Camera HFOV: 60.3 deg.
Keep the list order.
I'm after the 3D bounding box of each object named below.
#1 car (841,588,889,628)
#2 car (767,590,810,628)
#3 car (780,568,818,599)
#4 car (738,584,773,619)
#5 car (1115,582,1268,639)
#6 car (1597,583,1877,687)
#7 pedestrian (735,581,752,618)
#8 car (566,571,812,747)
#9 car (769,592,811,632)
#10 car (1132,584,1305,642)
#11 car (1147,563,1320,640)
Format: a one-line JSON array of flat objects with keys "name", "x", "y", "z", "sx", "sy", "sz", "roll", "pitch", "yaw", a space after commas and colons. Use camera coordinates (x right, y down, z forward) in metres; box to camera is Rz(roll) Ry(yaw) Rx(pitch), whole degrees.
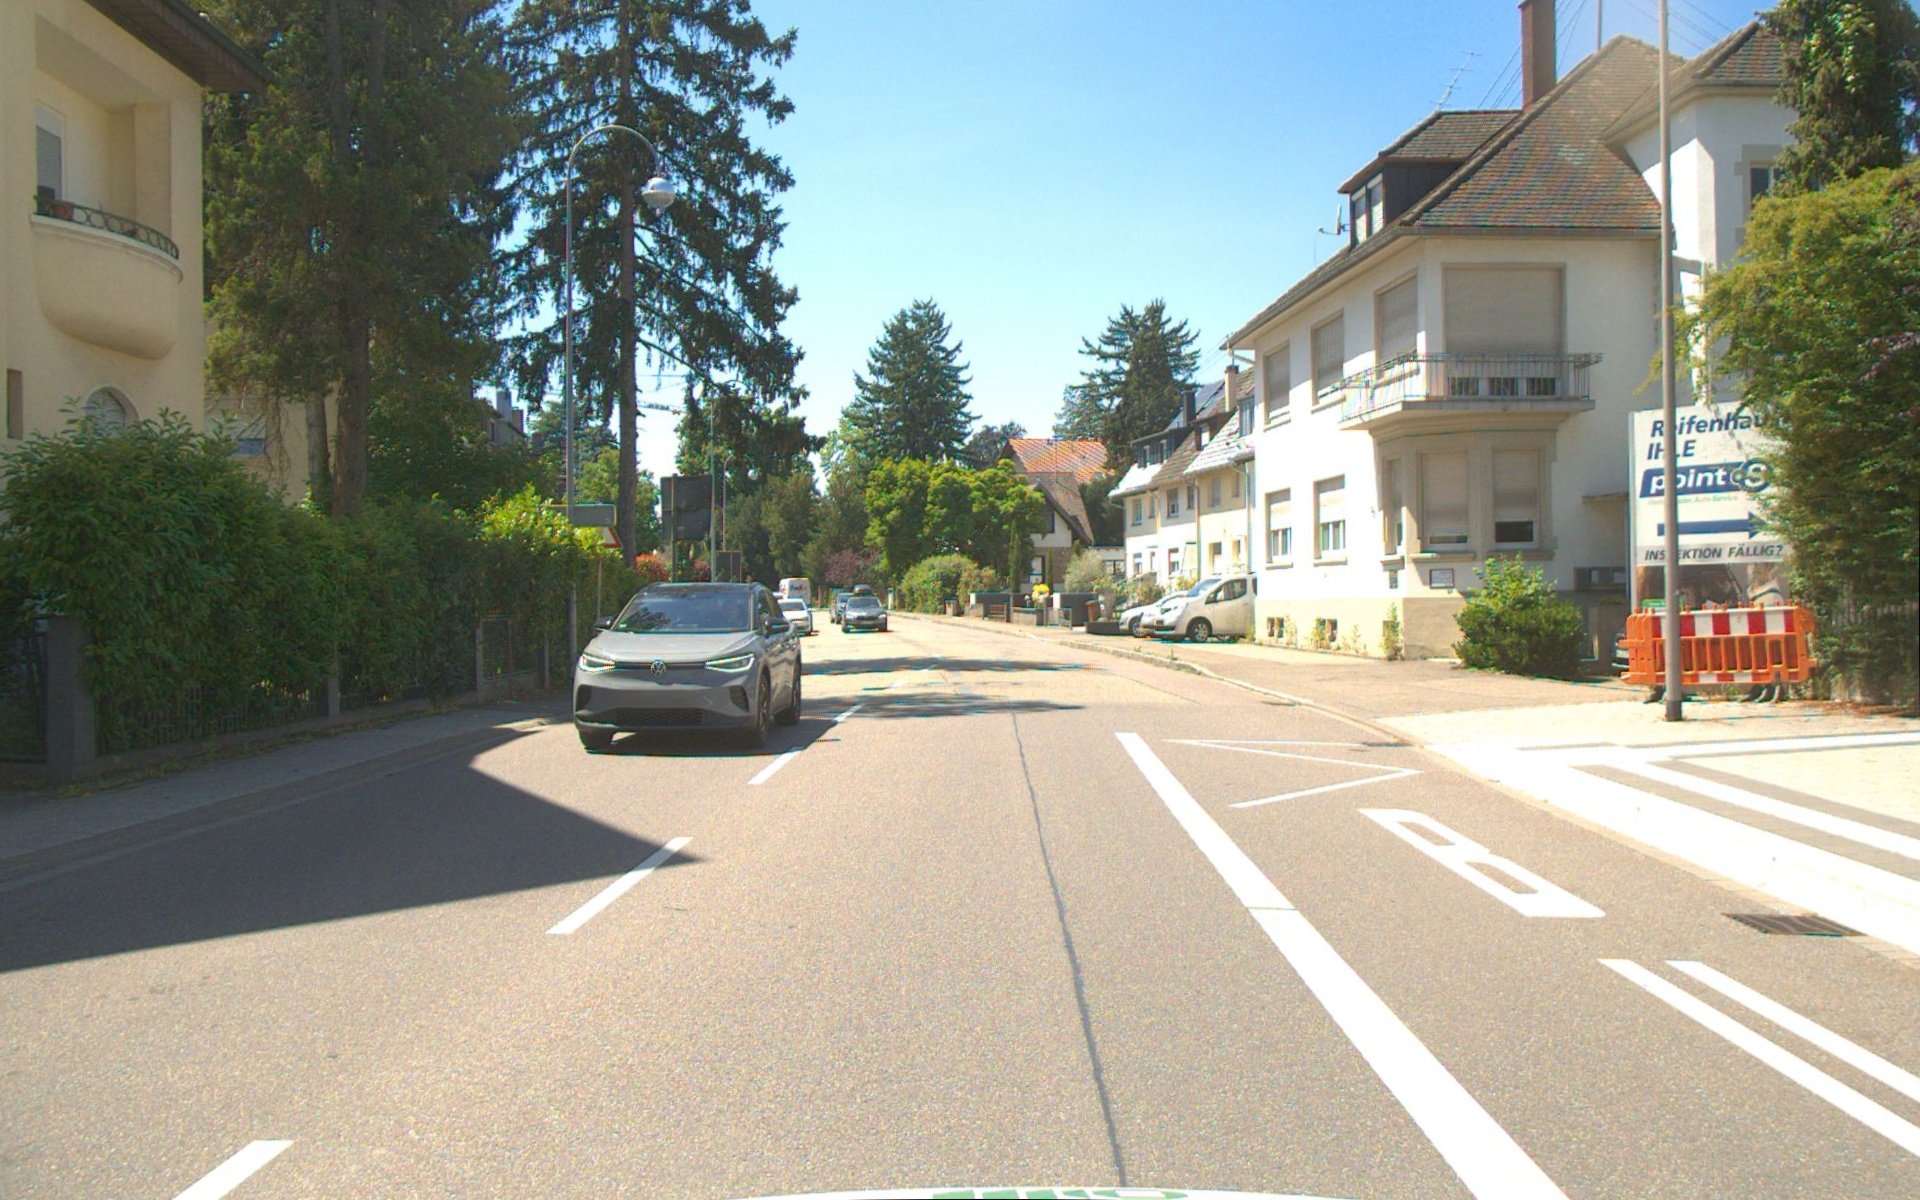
[{"name": "car", "x": -3.909, "y": 0.306, "z": 67.589, "sx": 1.771, "sy": 1.514, "sz": 4.382, "roll": -2, "pitch": 1, "yaw": -5}, {"name": "car", "x": -7.480, "y": 0.364, "z": 71.950, "sx": 1.735, "sy": 1.464, "sz": 4.355, "roll": -3, "pitch": 1, "yaw": -7}, {"name": "car", "x": -12.640, "y": -1.301, "z": 129.683, "sx": 2.108, "sy": 2.355, "sz": 4.834, "roll": -2, "pitch": 1, "yaw": -15}, {"name": "car", "x": -11.246, "y": 0.075, "z": 90.601, "sx": 1.691, "sy": 1.766, "sz": 3.878, "roll": -3, "pitch": 1, "yaw": -9}, {"name": "car", "x": 6.983, "y": 0.319, "z": 49.987, "sx": 4.207, "sy": 1.575, "sz": 1.754, "roll": 2, "pitch": -1, "yaw": 27}, {"name": "car", "x": 13.139, "y": 0.582, "z": 28.118, "sx": 3.907, "sy": 1.620, "sz": 1.797, "roll": 2, "pitch": 0, "yaw": -3}, {"name": "pedestrian", "x": -11.717, "y": -0.031, "z": 89.594, "sx": 0.676, "sy": 1.922, "sz": 1.018, "roll": 4, "pitch": -1, "yaw": -4}, {"name": "car", "x": -2.736, "y": 0.541, "z": 17.679, "sx": 1.815, "sy": 1.645, "sz": 4.297, "roll": 0, "pitch": 0, "yaw": 1}, {"name": "car", "x": -6.796, "y": 0.442, "z": 65.887, "sx": 1.549, "sy": 1.448, "sz": 3.935, "roll": -3, "pitch": 1, "yaw": -7}, {"name": "car", "x": 7.323, "y": 0.360, "z": 47.114, "sx": 4.549, "sy": 1.433, "sz": 1.767, "roll": 2, "pitch": 0, "yaw": -4}, {"name": "car", "x": 7.314, "y": 0.037, "z": 44.347, "sx": 4.217, "sy": 1.863, "sz": 1.733, "roll": 2, "pitch": 0, "yaw": -14}]
